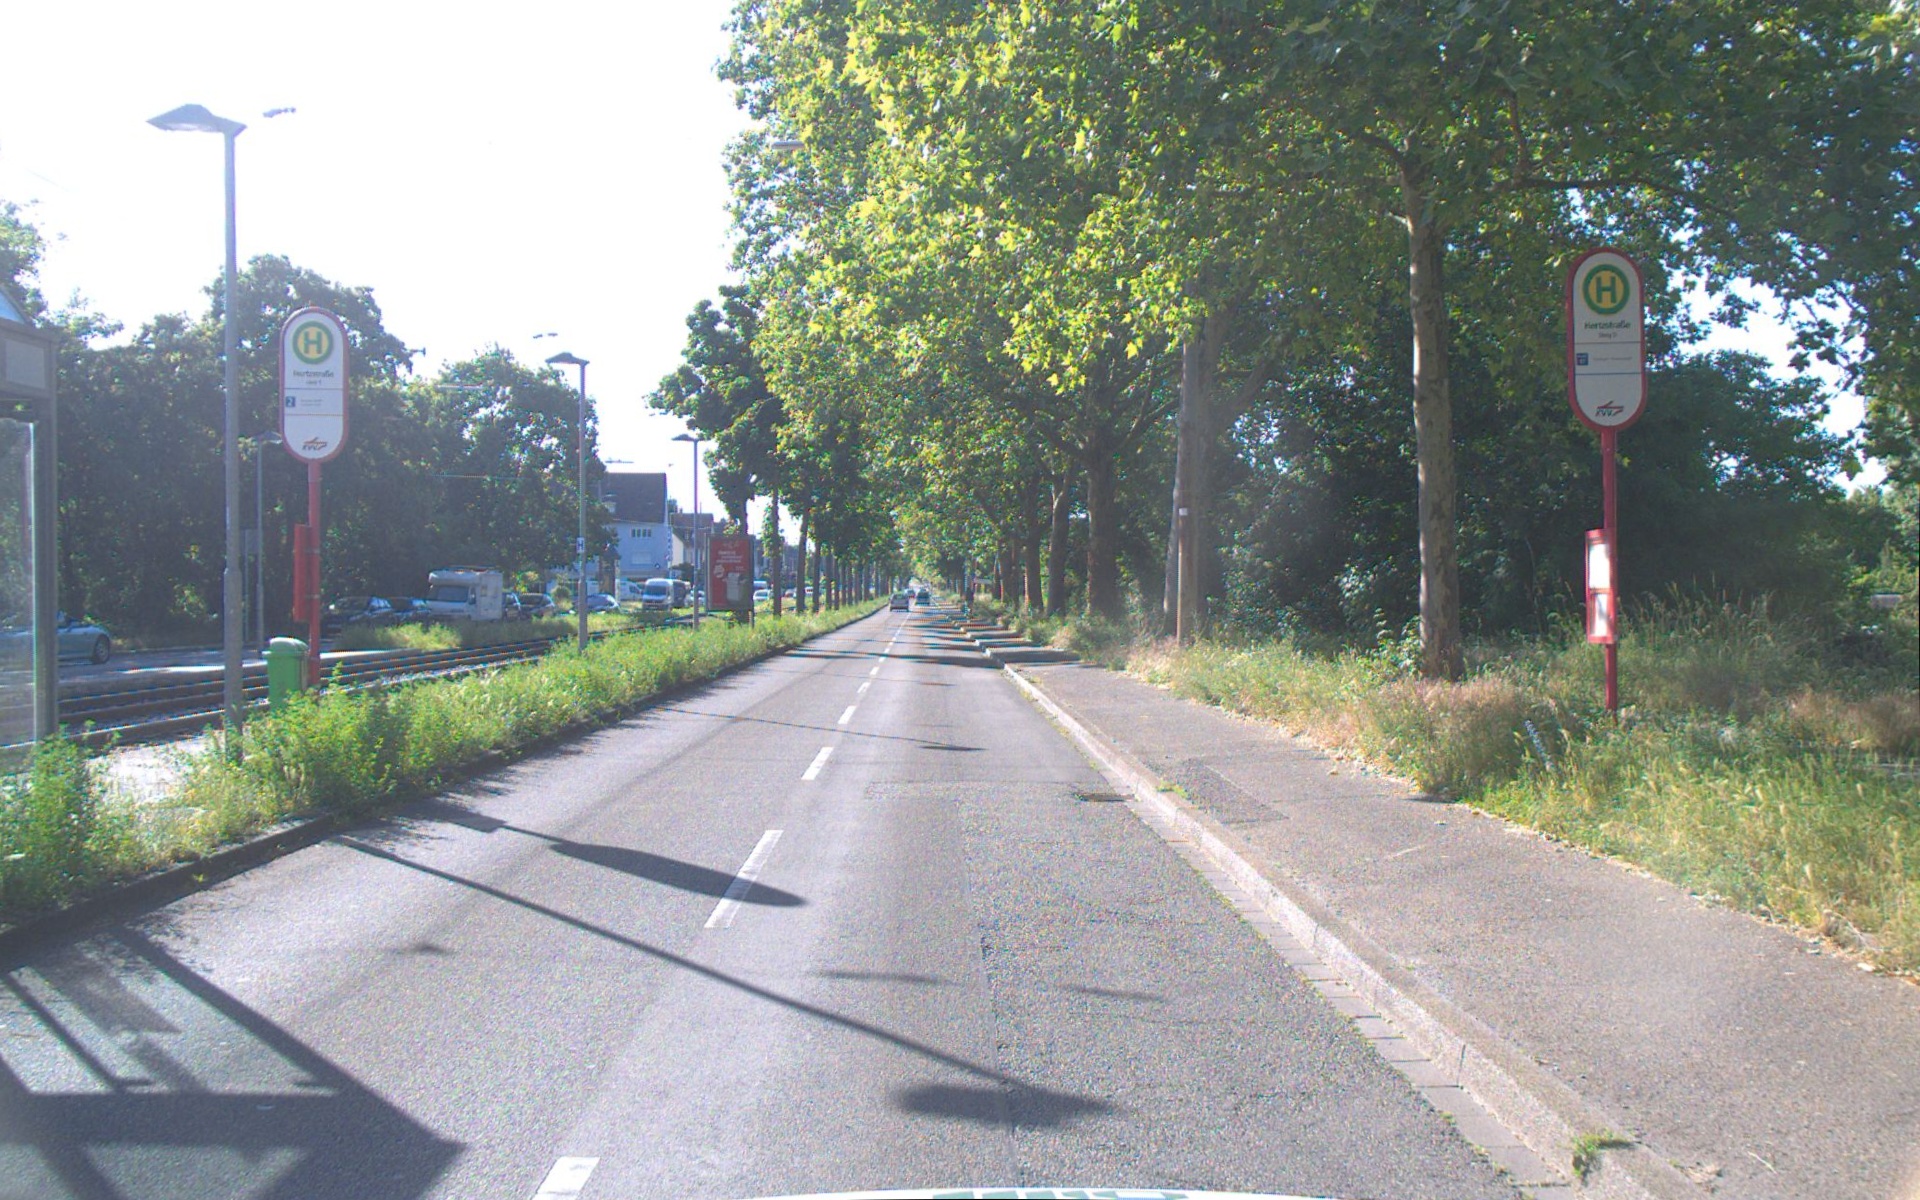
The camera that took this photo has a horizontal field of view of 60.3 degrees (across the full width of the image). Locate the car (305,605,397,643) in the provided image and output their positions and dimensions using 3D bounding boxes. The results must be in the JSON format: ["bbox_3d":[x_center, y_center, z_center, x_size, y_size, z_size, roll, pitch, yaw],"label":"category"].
[{"bbox_3d":[-22.410,0.854,60.995,1.881,1.288,4.000,-1,0,0],"label":"car"}]

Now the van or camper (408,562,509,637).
[{"bbox_3d":[-22.292,-0.050,73.812,2.537,3.160,6.786,-1,0,-1],"label":"van or camper"}]

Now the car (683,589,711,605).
[{"bbox_3d":[-24.135,-0.305,151.784,1.881,1.463,4.000,-1,0,0],"label":"car"}]

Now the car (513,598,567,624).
[{"bbox_3d":[-22.230,0.562,87.714,1.882,1.288,3.999,-1,0,-1],"label":"car"}]

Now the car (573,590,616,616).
[{"bbox_3d":[-23.525,0.198,106.543,1.881,1.604,4.000,-1,0,0],"label":"car"}]

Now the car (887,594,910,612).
[{"bbox_3d":[-4.997,0.230,134.981,1.829,1.512,3.554,0,0,-1],"label":"car"}]

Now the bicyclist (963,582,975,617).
[{"bbox_3d":[0.451,-0.025,84.461,0.523,1.800,0.712,-1,0,-3],"label":"bicyclist"}]

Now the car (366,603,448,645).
[{"bbox_3d":[-22.276,0.952,66.777,1.881,1.589,4.000,-1,0,1],"label":"car"}]

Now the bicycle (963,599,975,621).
[{"bbox_3d":[0.460,0.525,84.423,0.525,1.085,1.433,-1,0,-3],"label":"bicycle"}]

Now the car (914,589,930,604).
[{"bbox_3d":[-4.195,-0.396,180.805,1.715,1.632,3.749,0,1,-1],"label":"car"}]

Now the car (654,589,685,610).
[{"bbox_3d":[-24.181,-0.064,137.743,1.881,1.656,4.000,-1,0,0],"label":"car"}]

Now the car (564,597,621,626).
[{"bbox_3d":[-17.935,0.545,80.896,1.881,1.288,4.000,-1,0,0],"label":"car"}]

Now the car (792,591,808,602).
[{"bbox_3d":[-20.874,-0.476,216.090,1.882,1.288,3.999,-1,0,-2],"label":"car"}]

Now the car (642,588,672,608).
[{"bbox_3d":[-23.827,-0.130,130.141,1.708,1.522,3.592,-1,0,0],"label":"car"}]

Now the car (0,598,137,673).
[{"bbox_3d":[-19.678,0.718,35.377,1.953,1.495,4.376,0,0,0],"label":"car"}]
